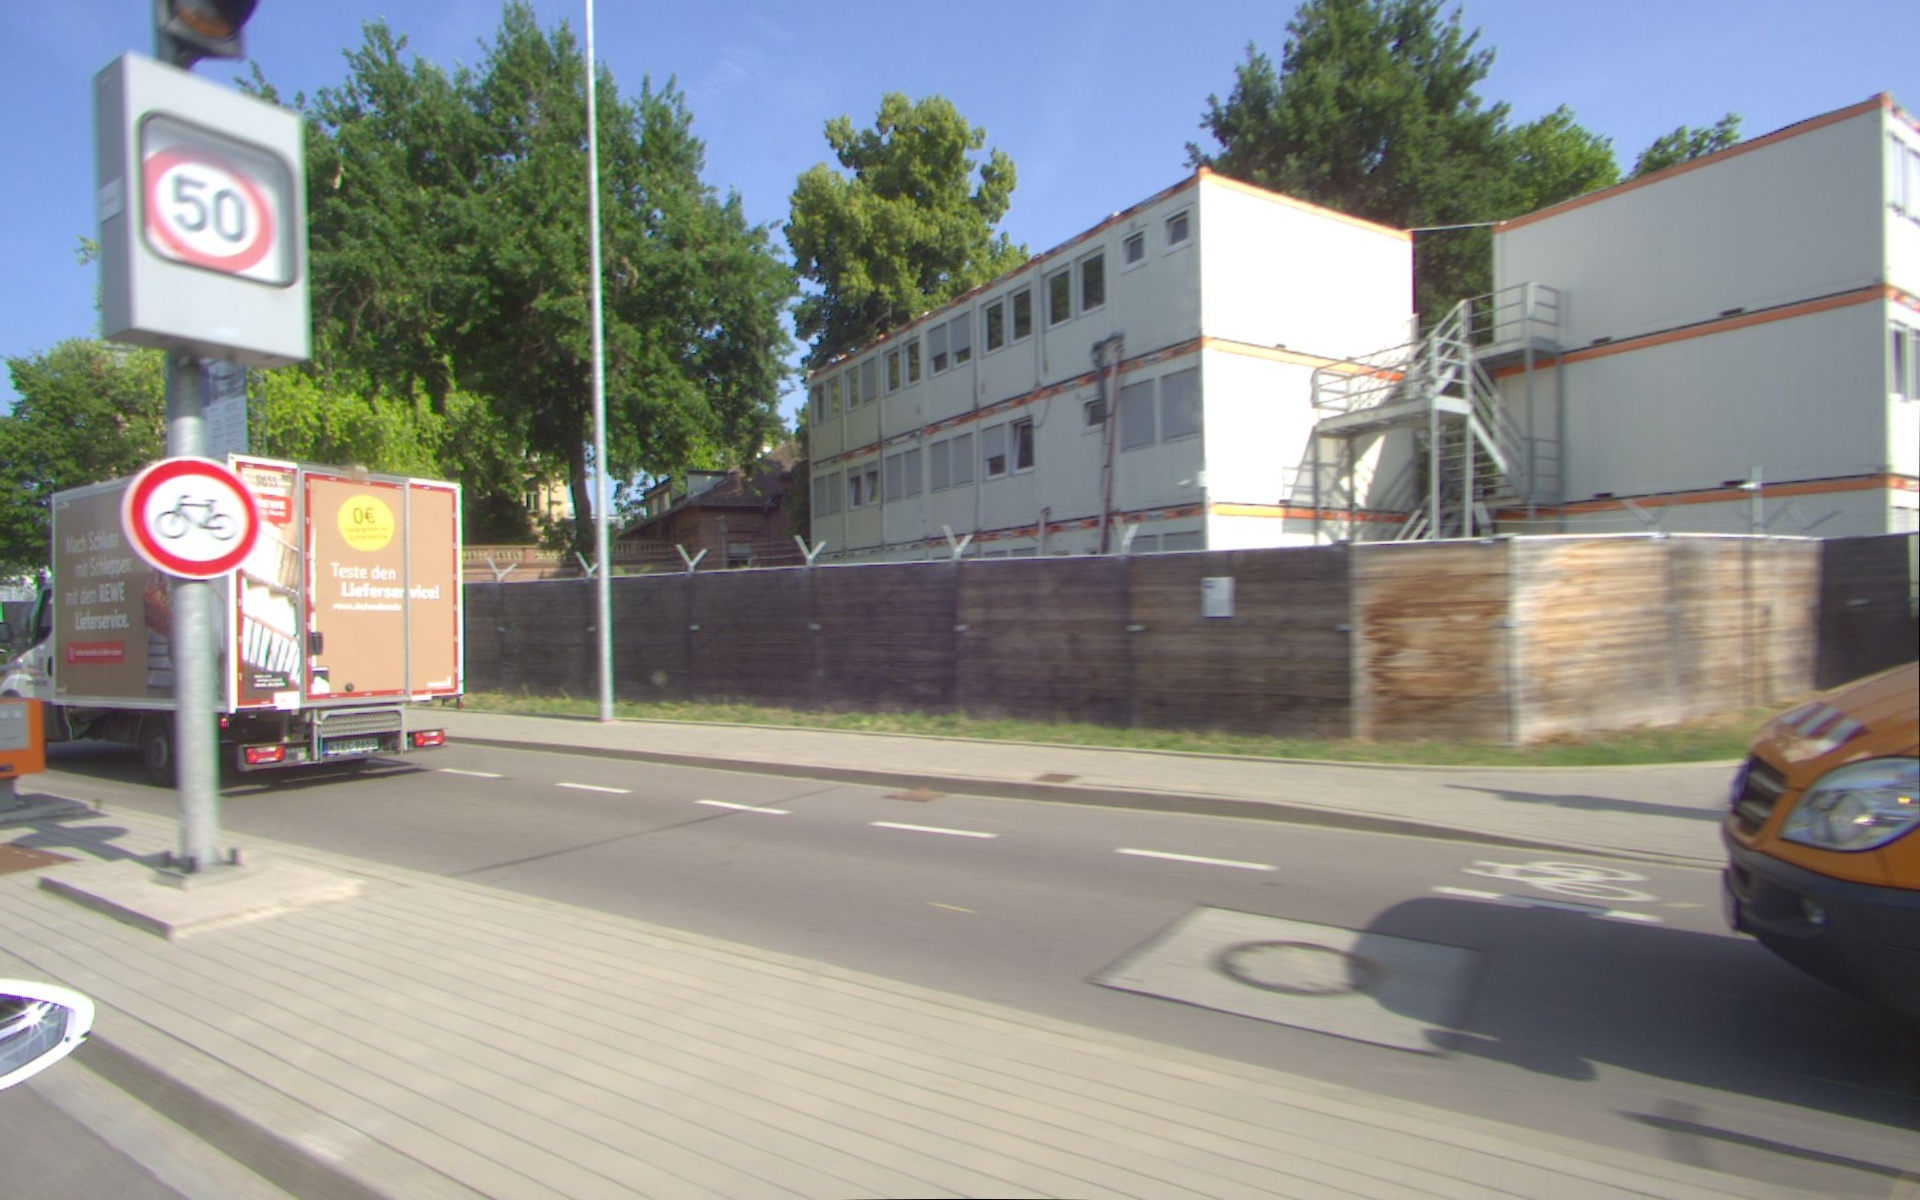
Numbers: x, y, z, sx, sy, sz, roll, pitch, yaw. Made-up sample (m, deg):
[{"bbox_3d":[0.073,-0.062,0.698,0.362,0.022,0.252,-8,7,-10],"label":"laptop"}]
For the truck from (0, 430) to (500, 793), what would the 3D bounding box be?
[{"bbox_3d":[-8.855,0.240,11.629,7.706,3.099,2.499,-2,-2,31],"label":"truck"}]

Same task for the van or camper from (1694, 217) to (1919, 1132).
[{"bbox_3d":[5.344,0.187,2.123,5.977,2.504,1.982,-1,-1,34],"label":"van or camper"}]
